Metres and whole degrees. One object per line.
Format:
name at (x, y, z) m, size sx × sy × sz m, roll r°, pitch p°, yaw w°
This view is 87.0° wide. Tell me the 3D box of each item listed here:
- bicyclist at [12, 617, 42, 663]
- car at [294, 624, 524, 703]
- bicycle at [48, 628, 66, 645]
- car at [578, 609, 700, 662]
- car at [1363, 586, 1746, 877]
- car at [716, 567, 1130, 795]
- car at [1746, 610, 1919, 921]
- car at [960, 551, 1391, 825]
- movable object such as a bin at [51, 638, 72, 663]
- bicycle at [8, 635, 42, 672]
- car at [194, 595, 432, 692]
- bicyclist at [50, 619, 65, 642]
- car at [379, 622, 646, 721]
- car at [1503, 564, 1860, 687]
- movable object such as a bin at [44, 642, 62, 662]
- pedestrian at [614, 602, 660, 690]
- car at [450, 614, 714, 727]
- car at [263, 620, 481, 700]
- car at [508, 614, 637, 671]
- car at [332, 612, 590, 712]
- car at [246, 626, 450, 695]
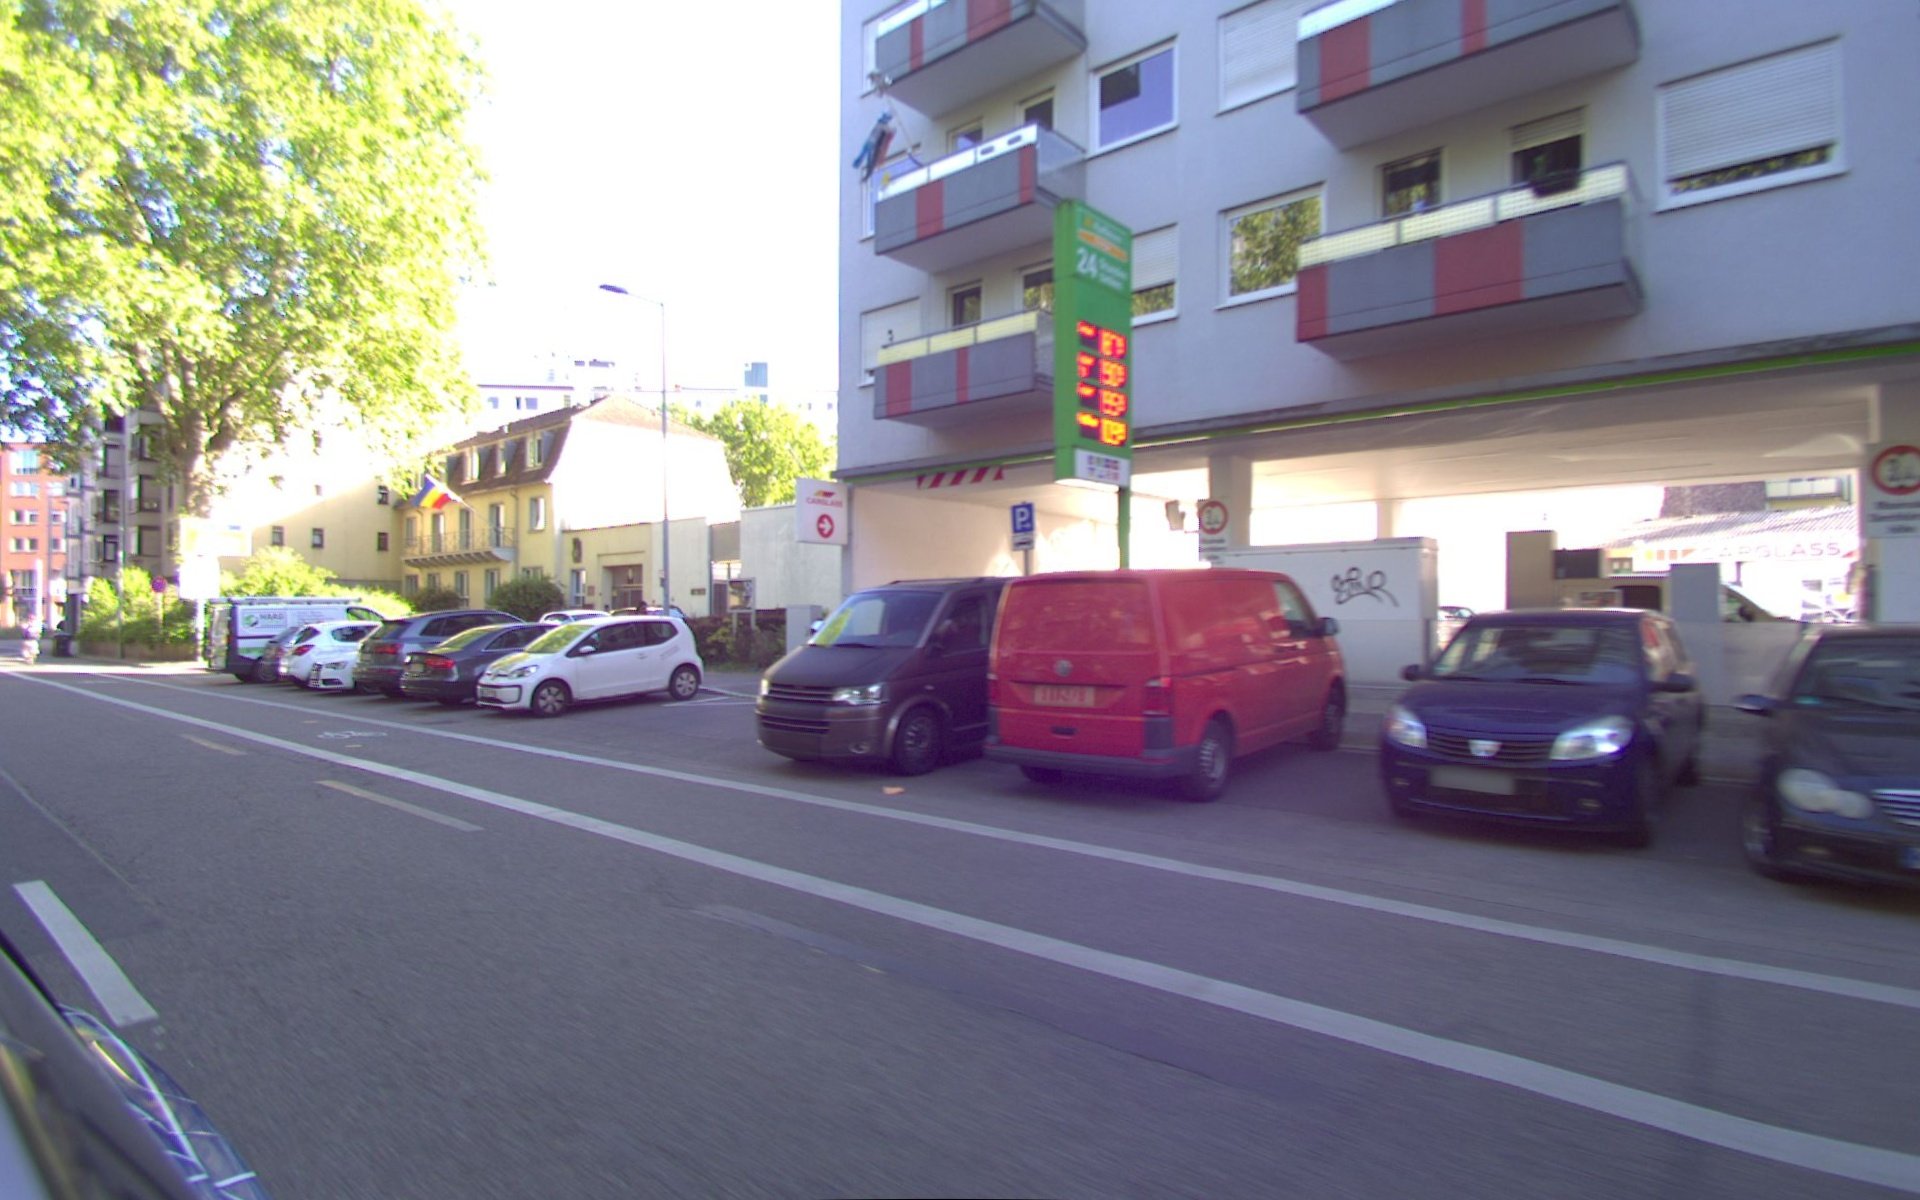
bicyclist at (-32.437, 1.400, 35.167) m, size 0.933 × 1.557 × 0.600 m, roll -2°, pitch -4°, yaw 41°
car at (-11.770, 1.293, 21.793) m, size 1.852 × 1.444 × 3.946 m, roll -2°, pitch -1°, yaw 40°
bicycle at (-67.205, 2.709, 75.318) m, size 2.178 × 1.209 × 0.721 m, roll -1°, pitch -3°, yaw 43°
car at (-10.044, 1.085, 31.567) m, size 3.998 × 1.475 × 1.771 m, roll -2°, pitch 0°, yaw 41°
car at (4.863, 0.746, 7.970) m, size 1.885 × 1.575 × 4.130 m, roll -1°, pitch 1°, yaw 41°
car at (-0.201, 0.678, 11.224) m, size 2.055 × 1.966 × 4.476 m, roll -2°, pitch 1°, yaw 41°
car at (6.256, 0.809, 6.223) m, size 2.045 × 1.390 × 4.185 m, roll -1°, pitch 1°, yaw 41°
car at (2.256, 0.584, 9.633) m, size 2.145 × 1.966 × 4.376 m, roll -2°, pitch 1°, yaw 41°
movable object such as a bin at (-40.045, 2.256, 45.099) m, size 0.644 × 1.079 × 0.588 m, roll -2°, pitch -2°, yaw 41°
bicycle at (-32.625, 1.869, 35.288) m, size 2.048 × 1.249 × 0.600 m, roll -2°, pitch -4°, yaw 41°
car at (-16.758, 1.031, 26.421) m, size 2.138 × 2.233 × 4.795 m, roll -1°, pitch 0°, yaw 40°
bicyclist at (-67.148, 2.268, 75.275) m, size 1.167 × 1.654 × 0.721 m, roll -1°, pitch -2°, yaw 42°
car at (-7.936, 1.191, 18.204) m, size 1.915 × 1.467 × 3.946 m, roll -1°, pitch 0°, yaw 40°
car at (11.642, 0.390, 16.585) m, size 4.582 × 1.760 × 1.703 m, roll -1°, pitch -1°, yaw 41°
movable object such as a bin at (-41.567, 2.385, 46.365) m, size 0.603 × 0.908 × 0.536 m, roll -2°, pitch -2°, yaw 41°
pedestrian at (-6.763, 0.959, 21.182) m, size 0.722 × 1.803 × 0.625 m, roll -2°, pitch -2°, yaw 41°
car at (-6.152, 1.059, 16.755) m, size 1.829 × 1.524 × 3.648 m, roll -1°, pitch 0°, yaw 40°
car at (-13.426, 1.313, 23.271) m, size 1.852 × 1.571 × 3.946 m, roll -2°, pitch -1°, yaw 40°
car at (-11.183, 1.195, 29.078) m, size 3.998 × 1.475 × 1.771 m, roll -2°, pitch 0°, yaw 41°
car at (-9.801, 1.131, 20.115) m, size 2.027 × 1.696 × 4.151 m, roll -1°, pitch 0°, yaw 40°
car at (-14.993, 1.413, 24.945) m, size 1.852 × 1.444 × 3.946 m, roll -2°, pitch -1°, yaw 40°
